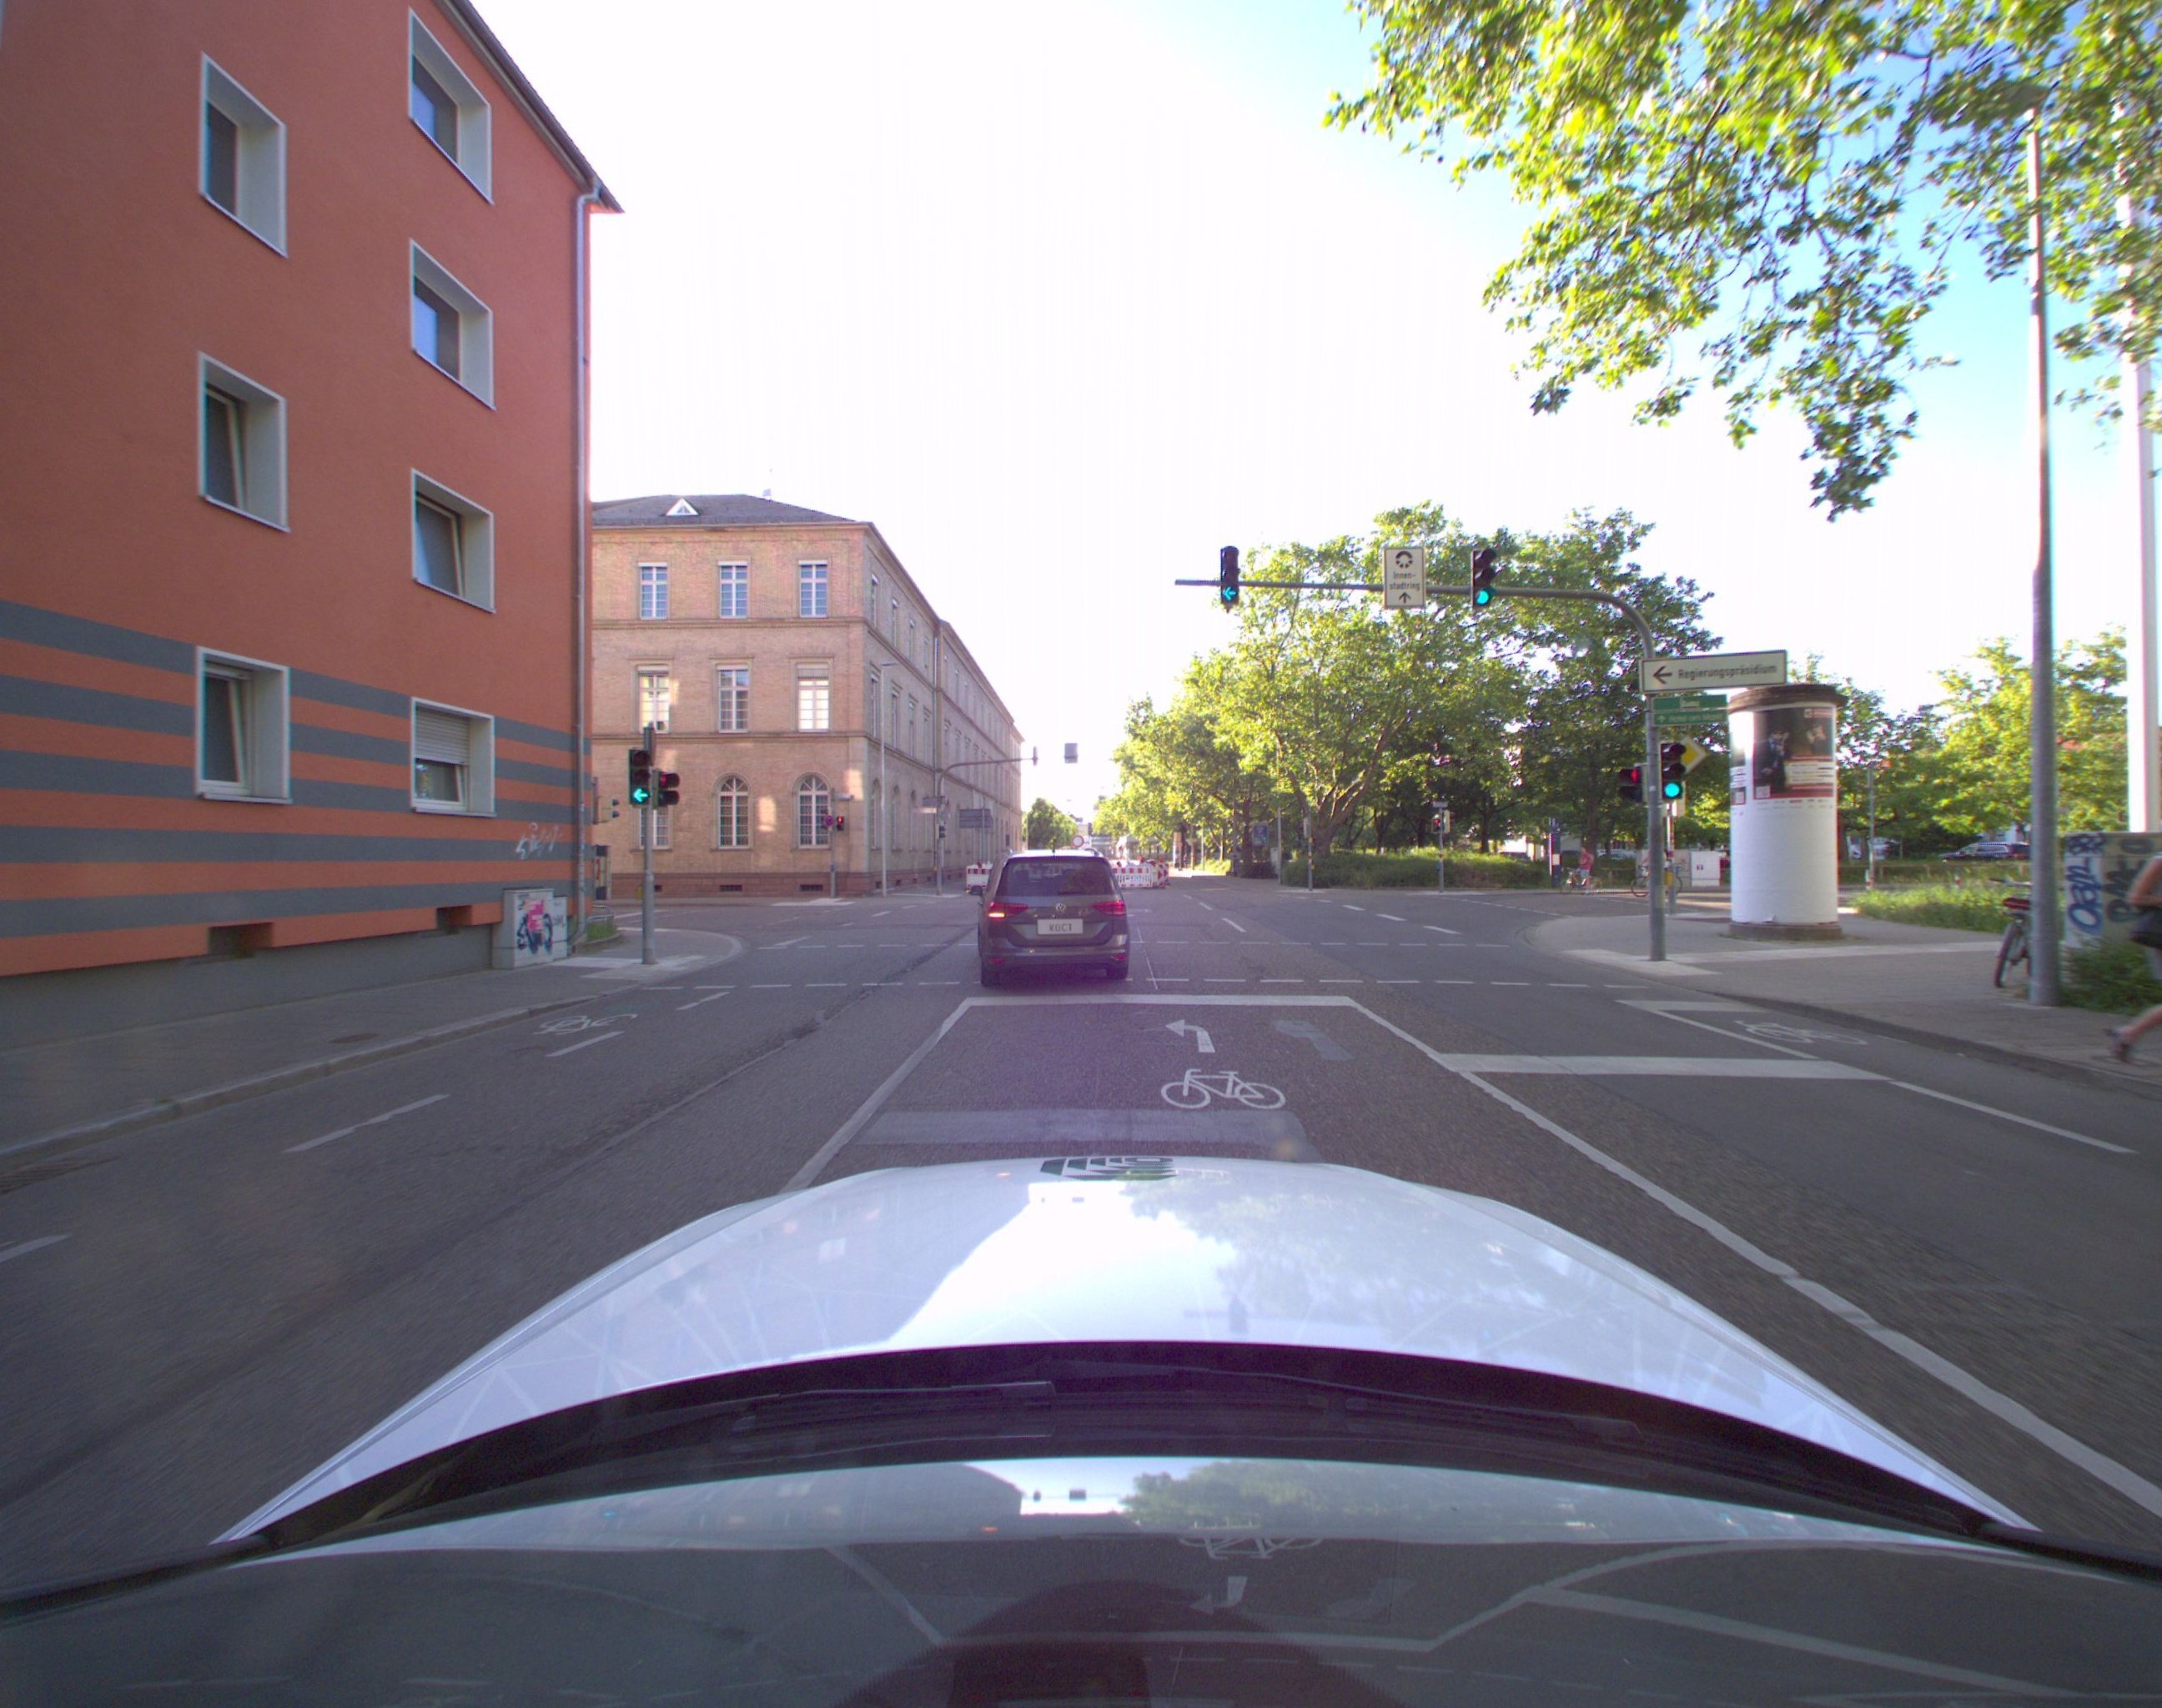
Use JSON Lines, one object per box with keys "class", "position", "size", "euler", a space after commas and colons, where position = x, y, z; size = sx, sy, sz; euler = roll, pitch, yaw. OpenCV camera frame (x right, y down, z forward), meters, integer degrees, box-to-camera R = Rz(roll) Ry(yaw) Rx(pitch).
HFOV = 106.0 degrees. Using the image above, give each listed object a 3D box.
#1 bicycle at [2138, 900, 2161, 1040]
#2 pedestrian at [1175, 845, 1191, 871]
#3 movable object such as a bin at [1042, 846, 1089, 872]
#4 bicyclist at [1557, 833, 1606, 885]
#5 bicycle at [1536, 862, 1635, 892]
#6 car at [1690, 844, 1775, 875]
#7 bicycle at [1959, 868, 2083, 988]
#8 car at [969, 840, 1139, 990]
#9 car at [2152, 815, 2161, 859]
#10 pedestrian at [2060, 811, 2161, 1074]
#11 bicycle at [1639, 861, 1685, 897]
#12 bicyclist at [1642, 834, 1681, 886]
{"class": "bicycle", "position": [8.282, 0.859, 5.355], "size": [0.519, 1.035, 1.647], "euler": [0, -1, 1]}
{"class": "pedestrian", "position": [10.305, 0.395, 82.193], "size": [1.418, 2.667, 1.145], "euler": [0, -1, -8]}
{"class": "movable object such as a bin", "position": [-1.742, 0.564, 90.588], "size": [4.781, 2.777, 2.488], "euler": [-1, -1, 44]}
{"class": "bicyclist", "position": [17.792, 0.185, 28.995], "size": [1.125, 1.808, 0.977], "euler": [0, -1, -1]}
{"class": "bicycle", "position": [17.964, 0.817, 29.011], "size": [2.988, 1.038, 0.942], "euler": [0, -1, -2]}
{"class": "car", "position": [39.320, 0.355, 49.284], "size": [1.986, 1.779, 4.001], "euler": [0, 0, 1]}
{"class": "bicycle", "position": [10.403, 0.767, 8.992], "size": [1.998, 1.182, 0.466], "euler": [-1, -1, -29]}
{"class": "car", "position": [-0.548, 0.665, 10.921], "size": [1.762, 1.607, 3.987], "euler": [-1, 0, -10]}
{"class": "car", "position": [53.848, -0.845, 37.865], "size": [1.990, 2.113, 4.558], "euler": [0, 0, -5]}
{"class": "pedestrian", "position": [7.428, 0.577, 5.467], "size": [0.771, 1.719, 0.692], "euler": [-1, -2, 0]}
{"class": "bicycle", "position": [18.273, 0.763, 25.667], "size": [0.969, 1.052, 2.677], "euler": [-2, -1, 32]}
{"class": "bicyclist", "position": [18.138, 0.181, 25.471], "size": [0.941, 1.545, 1.133], "euler": [-1, 1, 33]}
